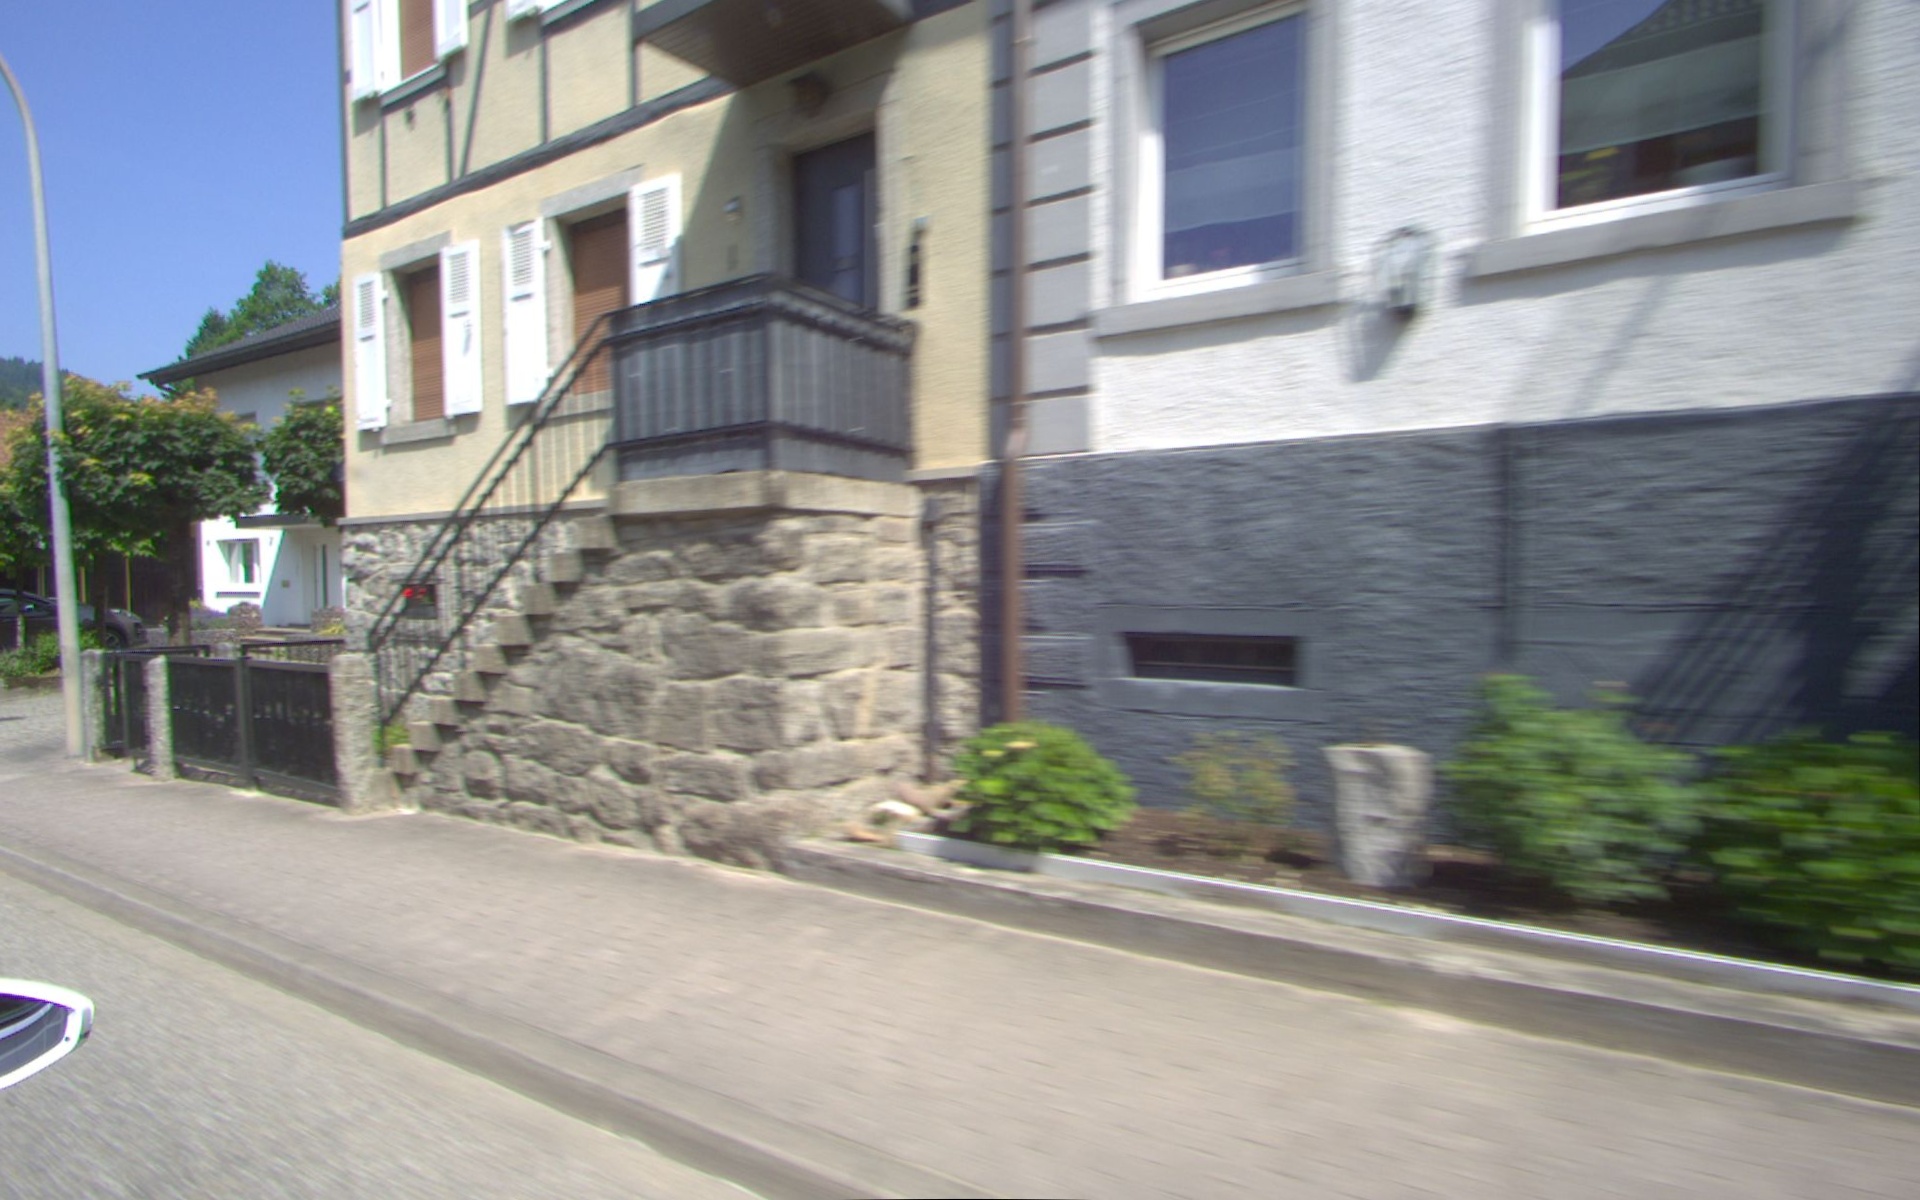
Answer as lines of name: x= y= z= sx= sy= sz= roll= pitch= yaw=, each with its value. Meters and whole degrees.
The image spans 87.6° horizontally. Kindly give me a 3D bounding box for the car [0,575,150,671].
car: x=-19.612 y=0.540 z=20.551 sx=1.753 sy=1.711 sz=4.202 roll=0 pitch=6 yaw=36
